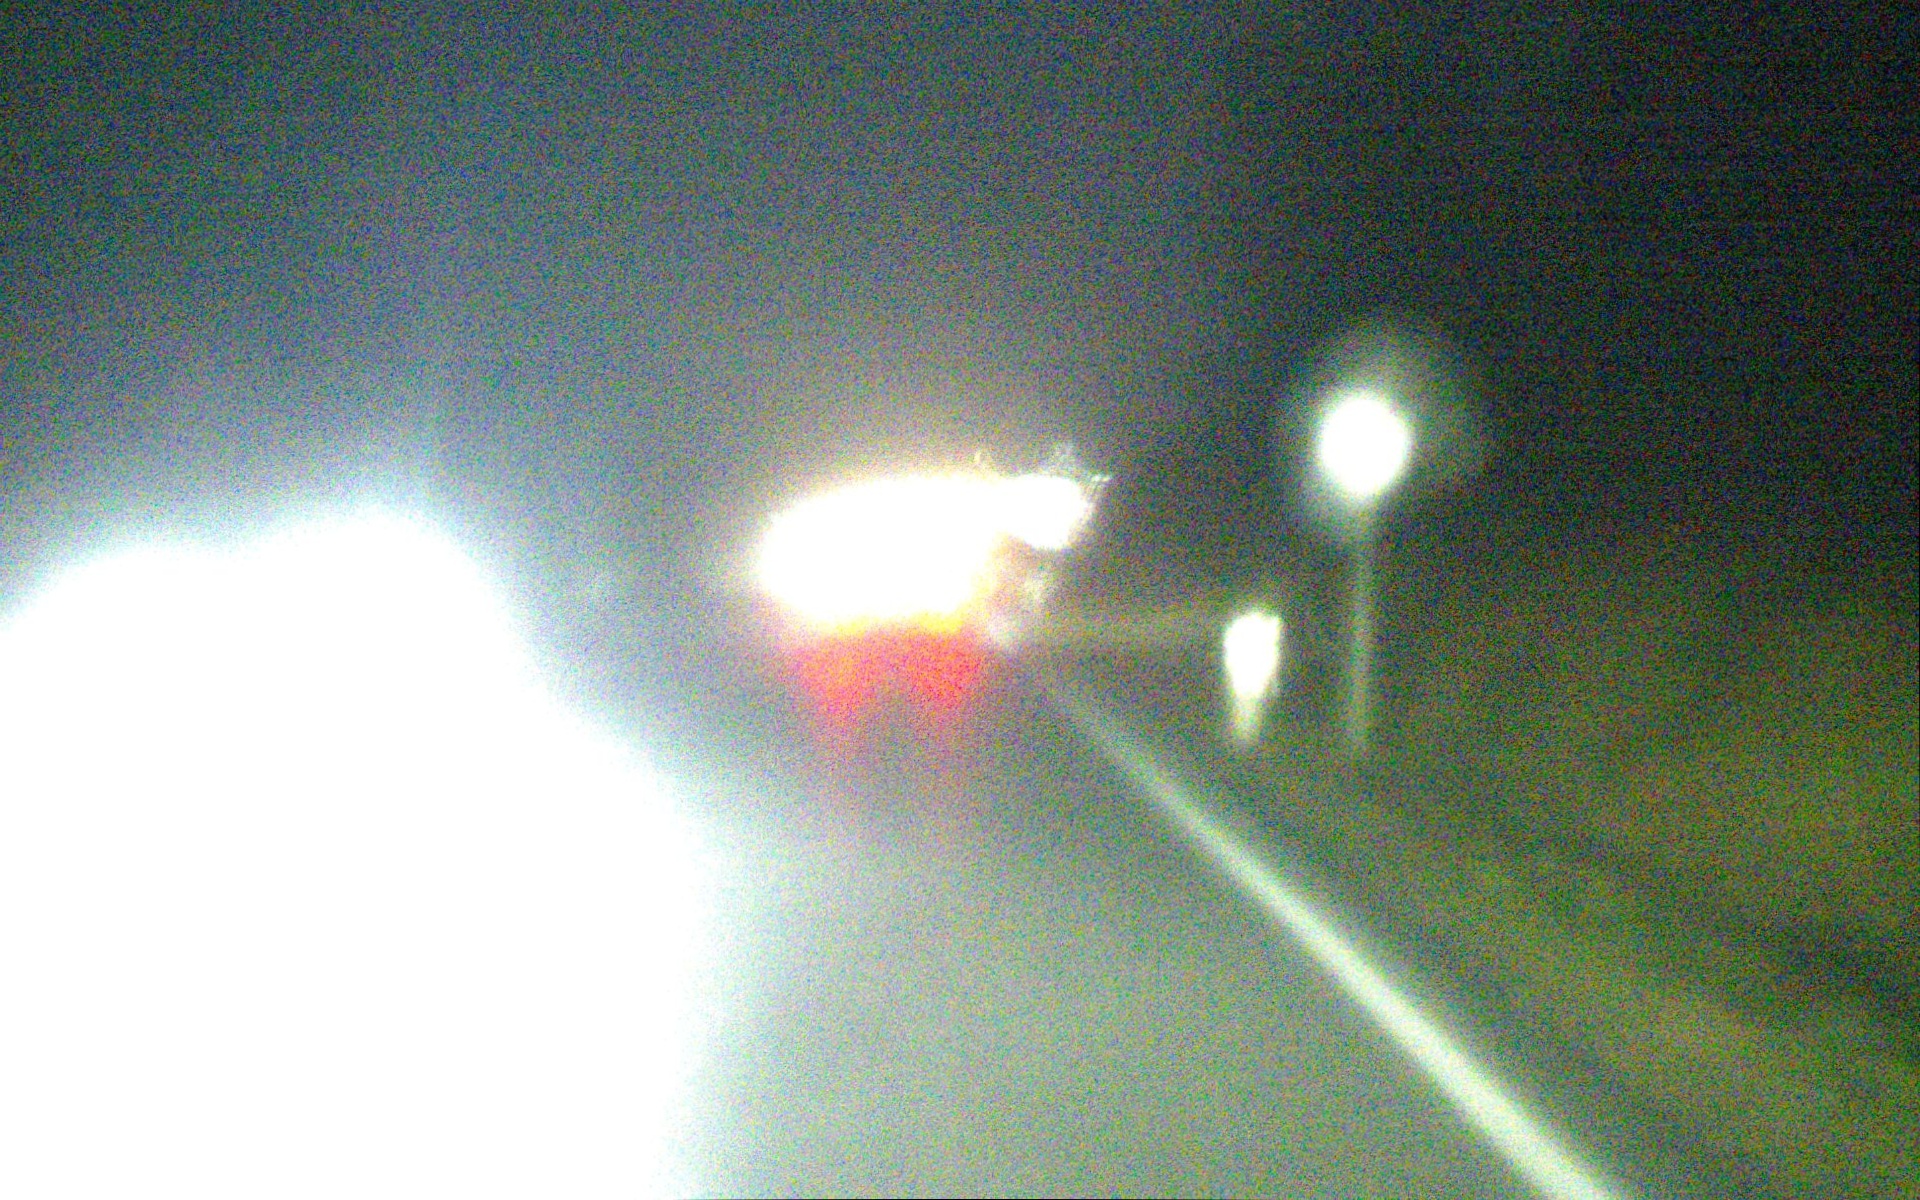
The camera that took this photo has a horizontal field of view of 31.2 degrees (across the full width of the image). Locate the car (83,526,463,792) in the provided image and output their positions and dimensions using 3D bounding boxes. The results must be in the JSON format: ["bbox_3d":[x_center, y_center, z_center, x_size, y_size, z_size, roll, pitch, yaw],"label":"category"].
[{"bbox_3d":[-4.824,0.372,24.693,1.946,1.722,4.000,1,0,-1],"label":"car"}]

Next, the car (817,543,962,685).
[{"bbox_3d":[-0.972,0.148,47.093,1.842,1.734,4.001,2,2,-1],"label":"car"}]
